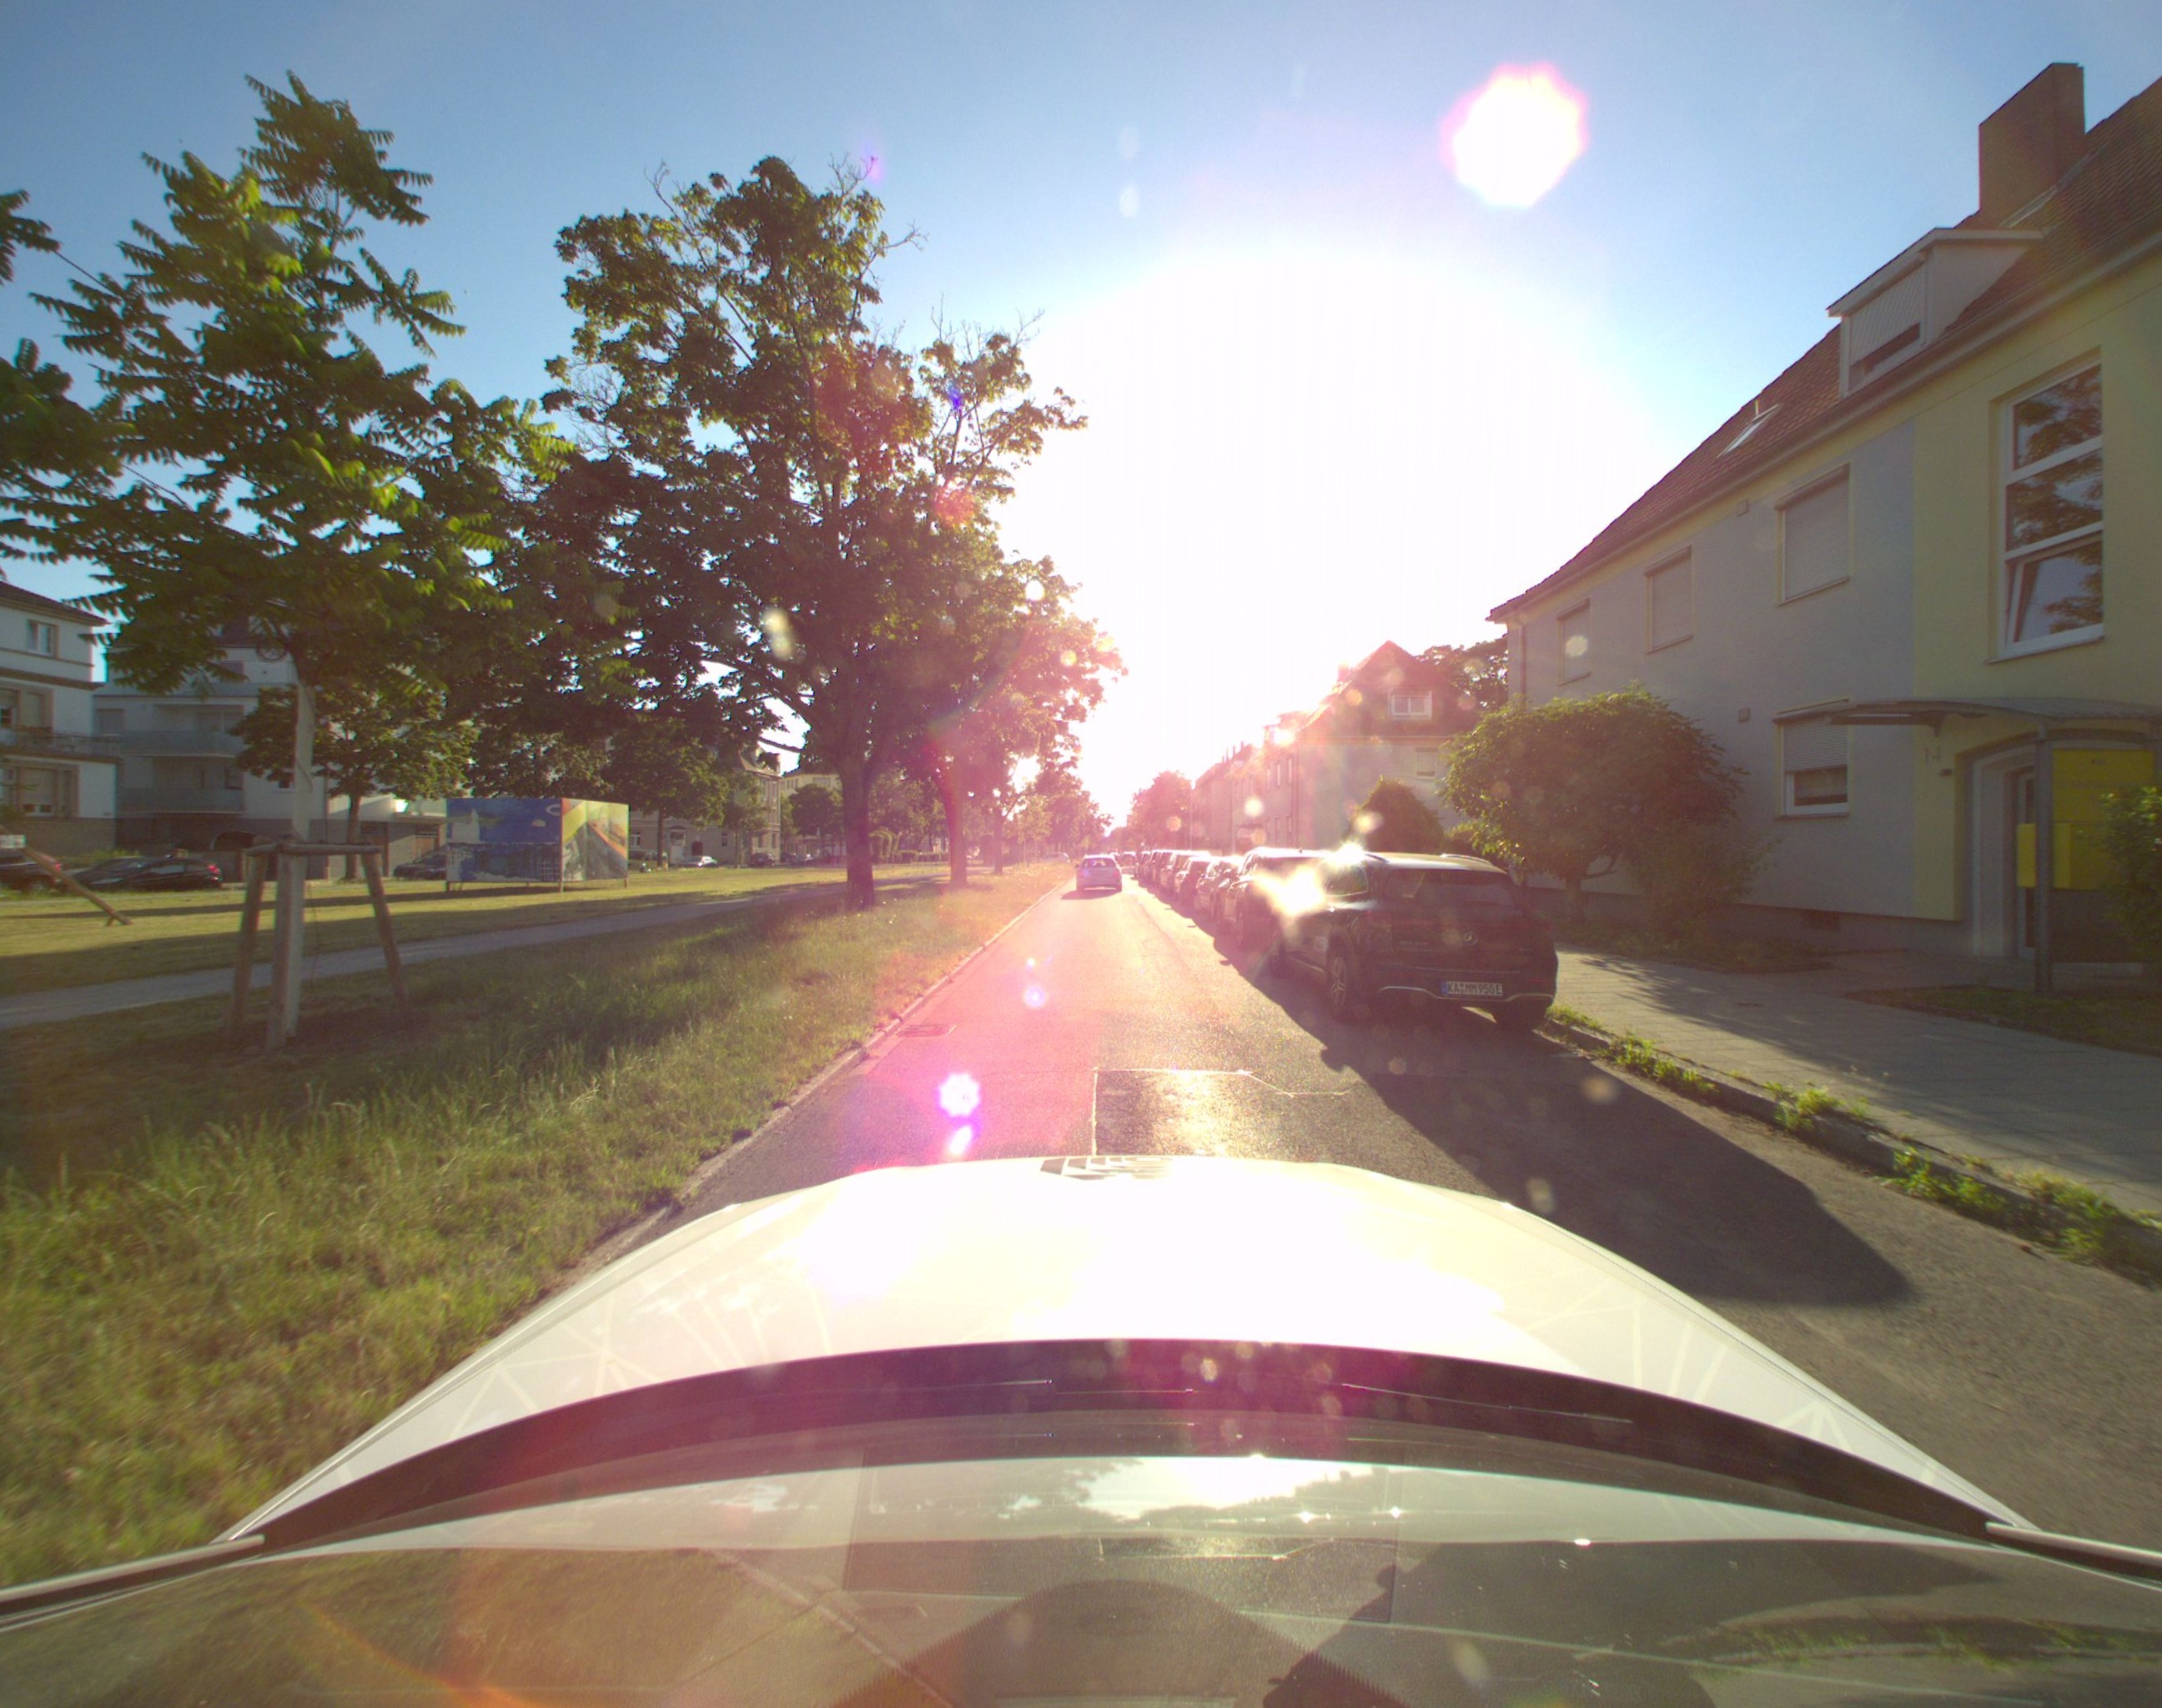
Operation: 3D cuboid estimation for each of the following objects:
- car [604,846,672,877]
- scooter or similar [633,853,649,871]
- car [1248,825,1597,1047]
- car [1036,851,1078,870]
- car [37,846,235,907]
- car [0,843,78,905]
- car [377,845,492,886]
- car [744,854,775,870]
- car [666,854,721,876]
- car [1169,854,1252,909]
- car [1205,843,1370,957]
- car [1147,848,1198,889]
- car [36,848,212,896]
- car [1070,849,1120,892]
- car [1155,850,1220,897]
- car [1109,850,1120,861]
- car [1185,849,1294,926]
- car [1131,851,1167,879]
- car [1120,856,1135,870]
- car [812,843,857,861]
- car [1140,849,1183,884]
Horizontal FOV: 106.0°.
[{"bbox_3d":[-32.224,0.566,59.423,1.986,2.057,5.054,-3,-1,2],"label":"car"},{"bbox_3d":[-28.206,0.505,52.214,0.391,1.127,1.294,1,-1,-6],"label":"scooter or similar"},{"bbox_3d":[3.273,0.669,8.981,1.926,1.720,4.622,3,0,1],"label":"car"},{"bbox_3d":[-2.343,0.675,80.440,3.875,1.596,2.002,-3,-1,4],"label":"car"},{"bbox_3d":[-33.227,0.784,28.861,1.883,1.917,4.328,-3,-1,1],"label":"car"},{"bbox_3d":[-39.231,0.723,28.445,2.229,2.131,4.856,-3,-1,2],"label":"car"},{"bbox_3d":[-32.710,0.594,41.422,1.921,1.828,4.693,-3,-1,2],"label":"car"},{"bbox_3d":[-36.892,0.959,93.466,1.637,1.707,4.296,-3,-1,3],"label":"car"},{"bbox_3d":[-32.239,0.937,67.937,1.975,1.637,4.831,-3,-1,3],"label":"car"},{"bbox_3d":[3.833,0.773,24.894,1.985,1.462,4.564,2,0,3],"label":"car"},{"bbox_3d":[3.450,0.677,14.566,1.847,1.657,4.822,1,0,2],"label":"car"},{"bbox_3d":[3.951,0.637,35.883,1.759,1.635,4.765,2,-1,1],"label":"car"},{"bbox_3d":[-39.008,0.726,33.393,1.814,1.744,4.462,-3,-1,2],"label":"car"},{"bbox_3d":[0.599,0.613,32.176,1.817,1.566,4.002,-1,0,2],"label":"car"},{"bbox_3d":[3.832,0.670,30.073,1.720,1.561,4.414,1,0,-1],"label":"car"},{"bbox_3d":[6.250,0.244,153.645,1.981,2.023,4.002,0,0,2],"label":"car"},{"bbox_3d":[3.742,0.759,19.950,1.723,1.548,4.206,5,-1,-1],"label":"car"},{"bbox_3d":[4.254,0.681,51.513,1.712,1.639,4.560,2,0,-2],"label":"car"},{"bbox_3d":[5.434,1.066,95.279,1.715,1.597,4.001,0,-1,2],"label":"car"},{"bbox_3d":[-38.489,-0.296,127.212,6.332,2.720,1.984,0,0,-29],"label":"car"},{"bbox_3d":[4.028,0.619,41.320,1.771,1.643,4.757,0,-1,1],"label":"car"}]
